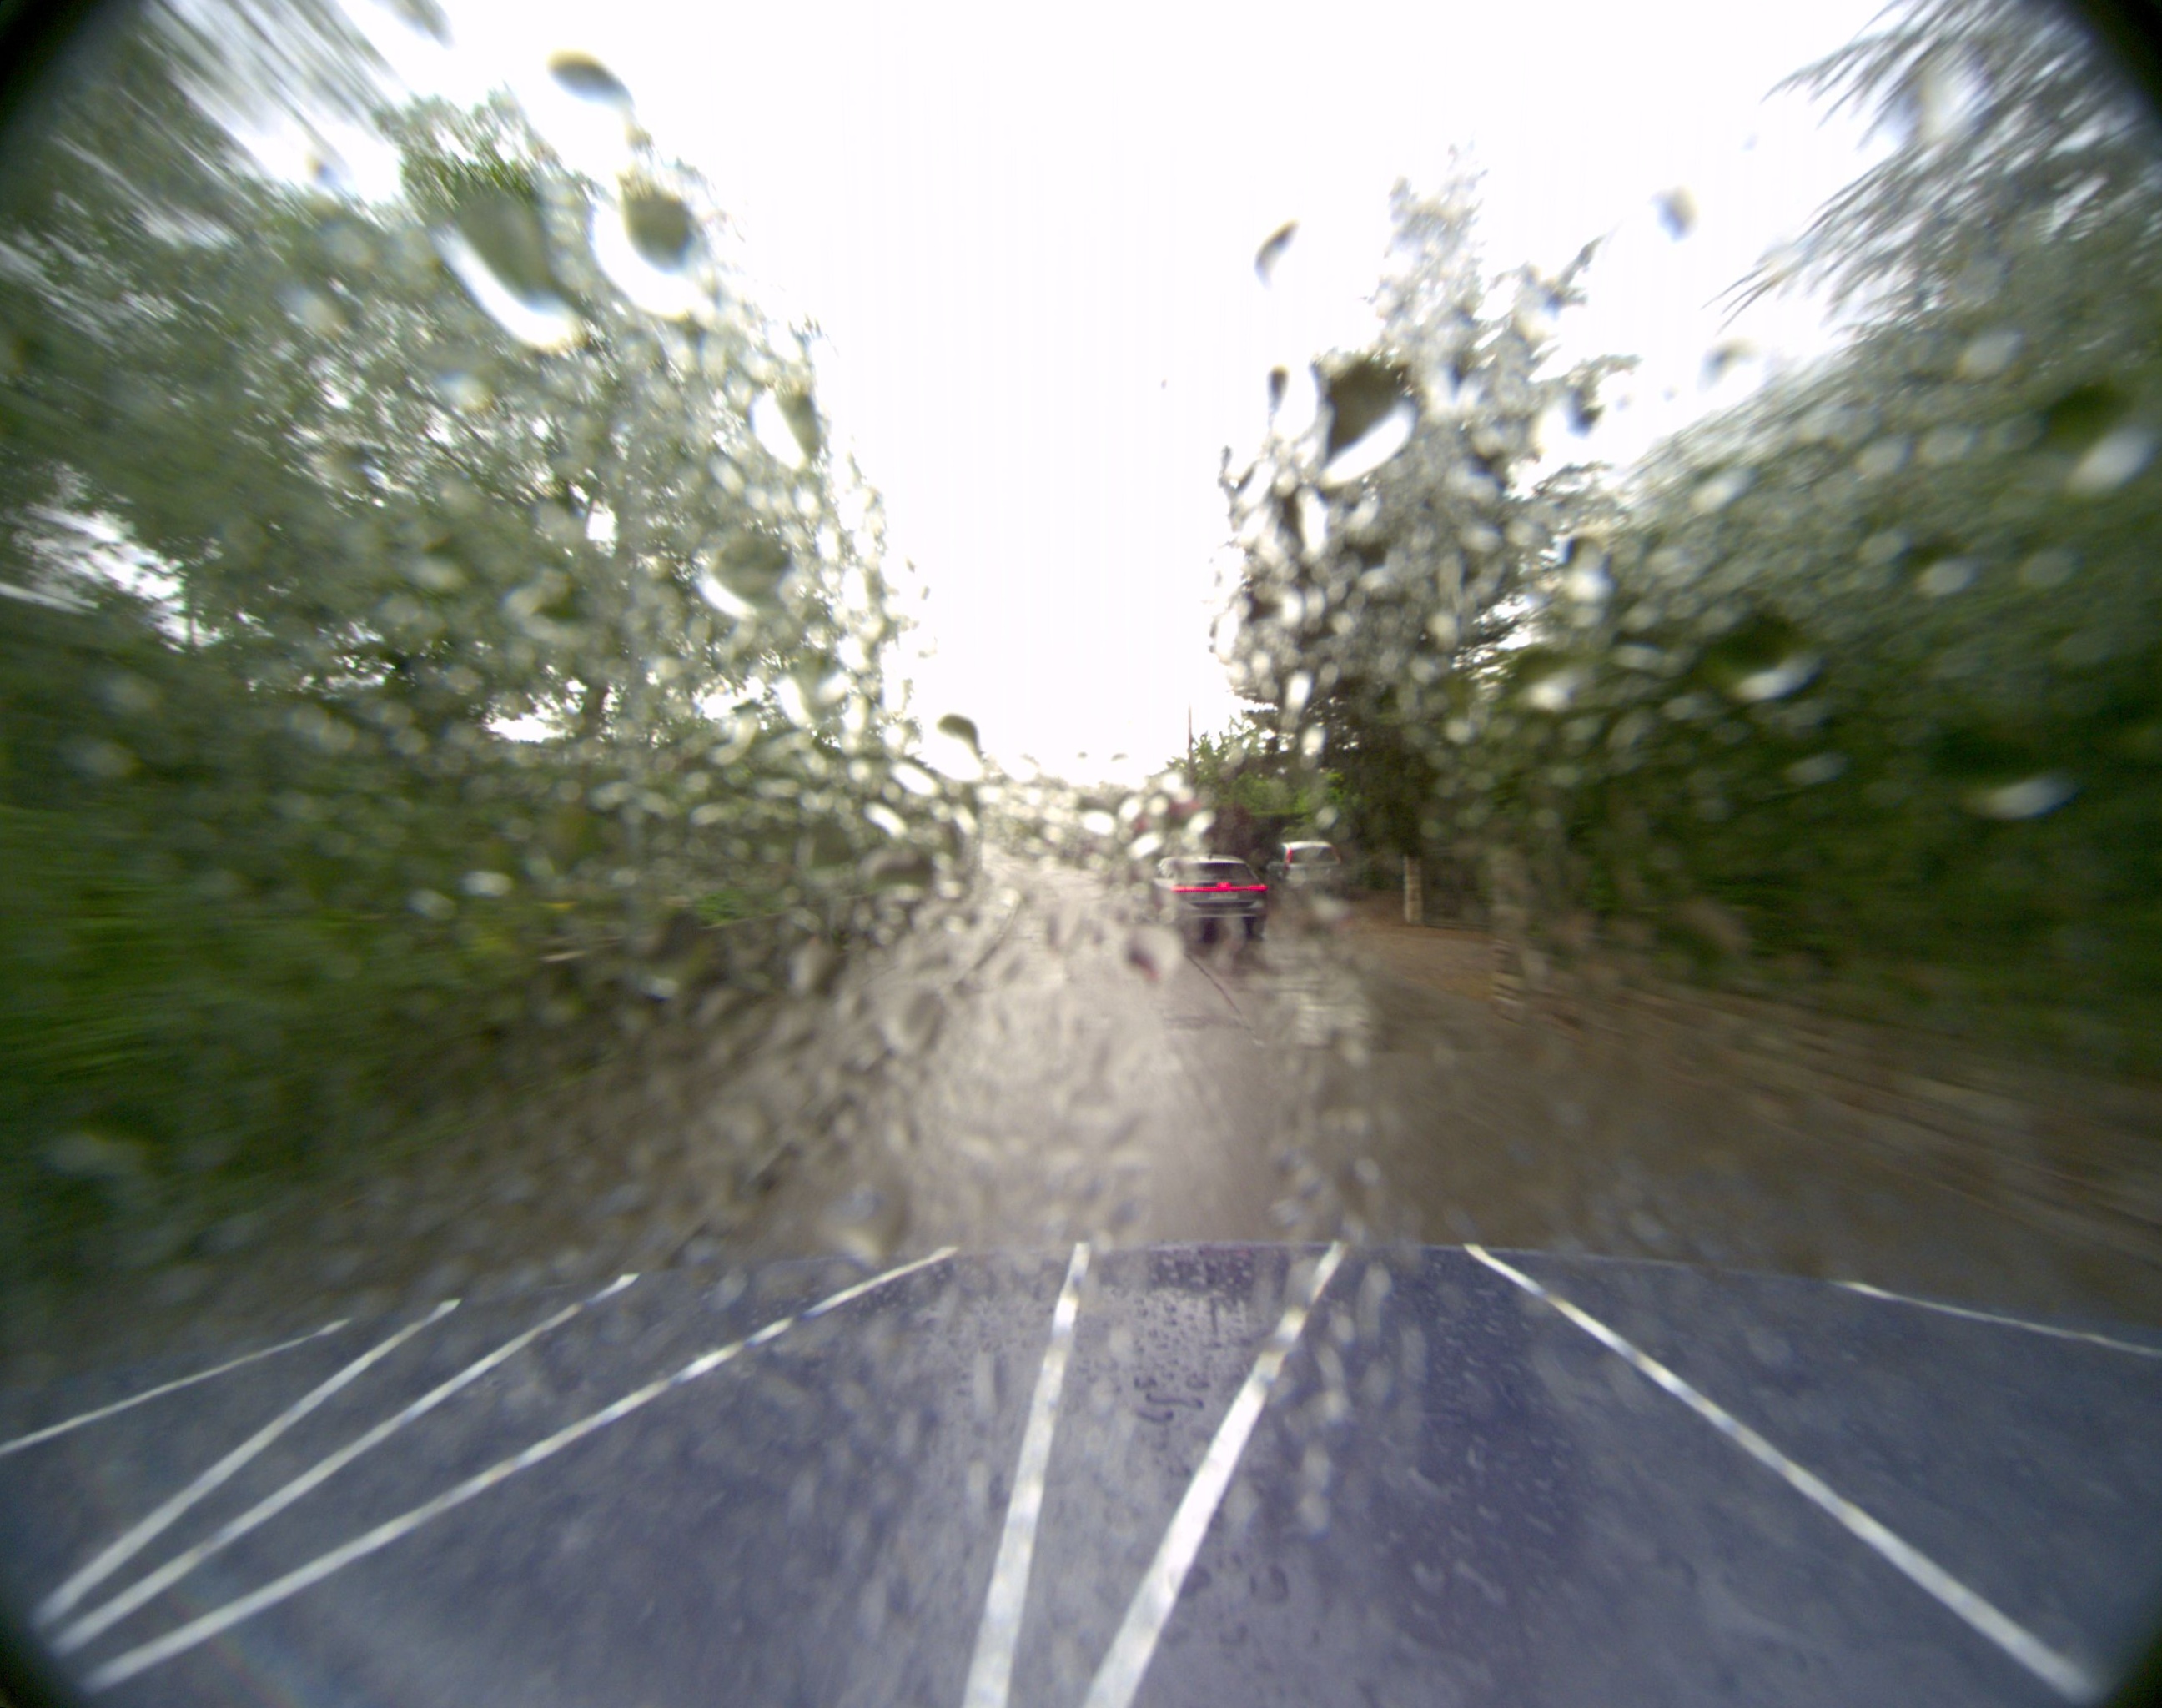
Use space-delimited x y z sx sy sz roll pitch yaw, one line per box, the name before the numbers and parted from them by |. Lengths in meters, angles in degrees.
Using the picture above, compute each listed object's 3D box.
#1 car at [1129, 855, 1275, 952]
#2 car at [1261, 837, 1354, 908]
car | 2.192 0.835 15.034 1.894 1.514 4.419 -1 1 -4
car | 6.137 0.423 20.950 1.788 1.518 3.656 -4 3 7
